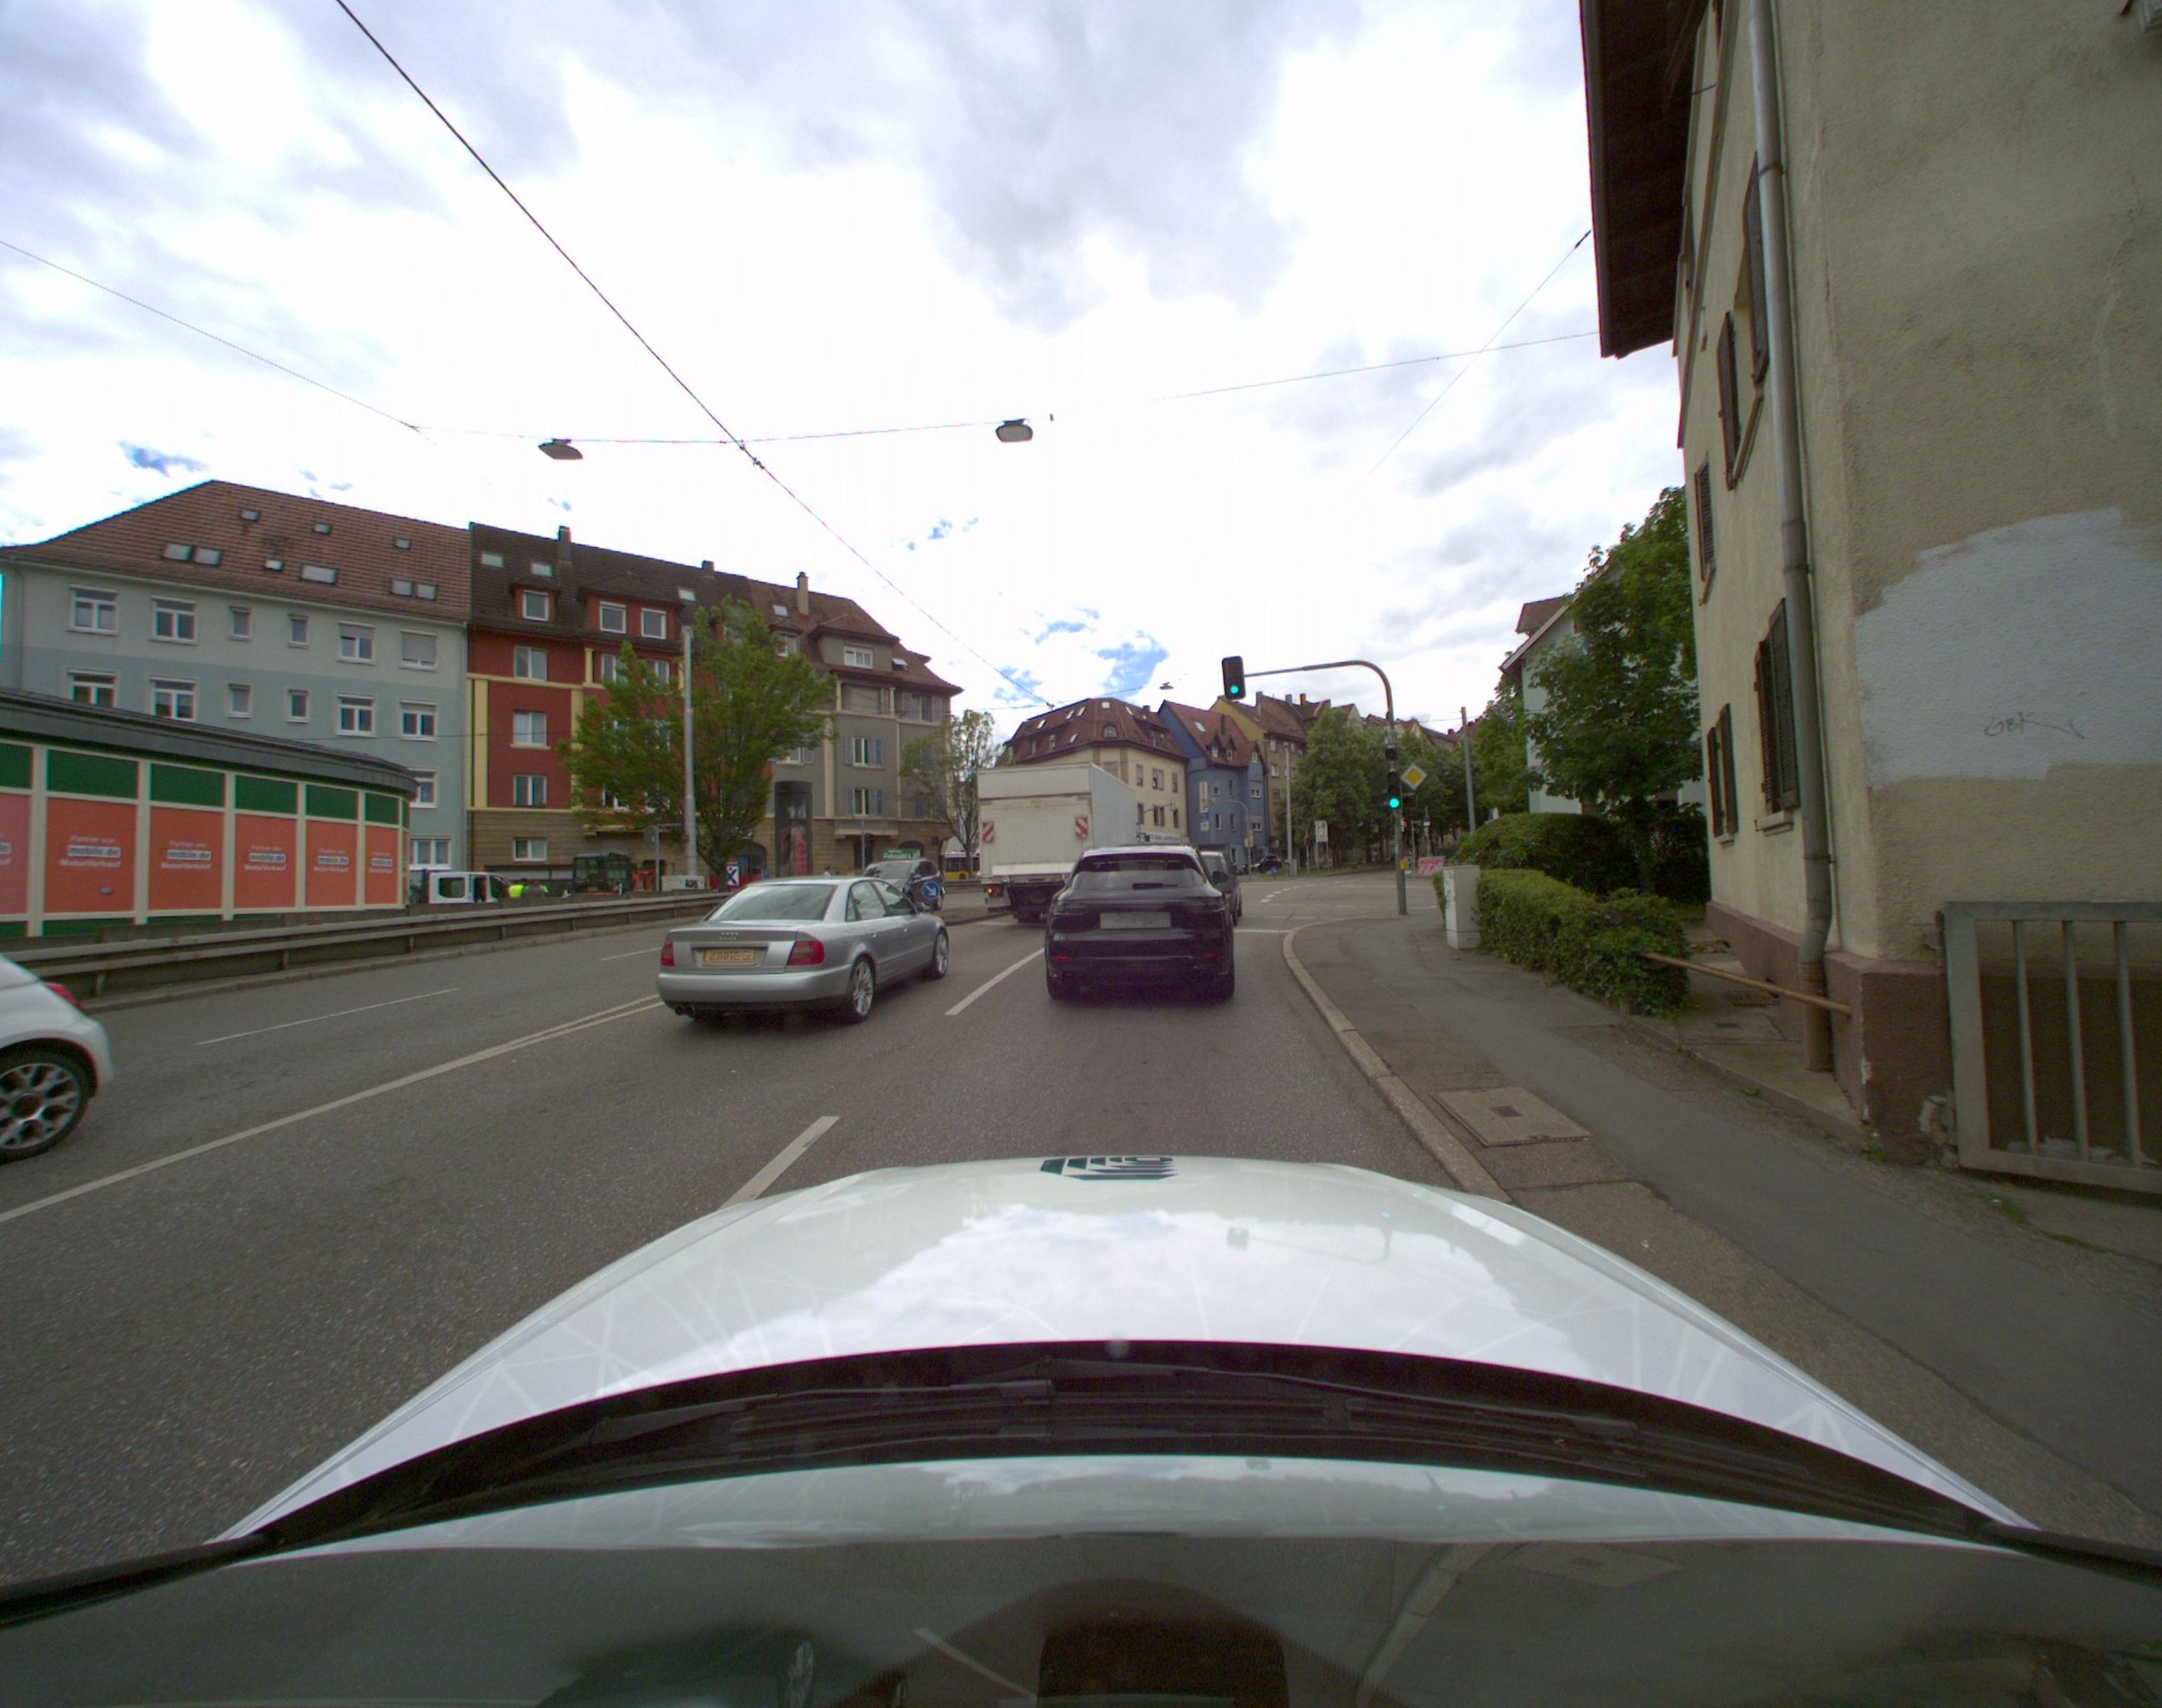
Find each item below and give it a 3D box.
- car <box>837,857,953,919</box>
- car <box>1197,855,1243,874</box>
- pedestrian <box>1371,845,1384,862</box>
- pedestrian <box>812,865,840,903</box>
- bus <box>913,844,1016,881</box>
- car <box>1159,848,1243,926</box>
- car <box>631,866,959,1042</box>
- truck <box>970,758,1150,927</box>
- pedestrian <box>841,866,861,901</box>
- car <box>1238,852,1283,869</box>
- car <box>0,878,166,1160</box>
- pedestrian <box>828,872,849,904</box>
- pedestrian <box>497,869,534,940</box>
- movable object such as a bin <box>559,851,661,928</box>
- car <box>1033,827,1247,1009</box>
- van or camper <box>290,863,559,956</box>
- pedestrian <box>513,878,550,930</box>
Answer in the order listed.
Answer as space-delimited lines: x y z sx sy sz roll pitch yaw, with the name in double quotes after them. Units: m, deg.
-5.595 0.975 25.183 1.893 1.714 4.729 -1 0 8 "car"
11.692 0.882 68.520 1.700 1.476 4.244 -4 -2 43 "car"
35.907 -0.016 98.576 1.181 2.014 0.995 -2 -1 41 "pedestrian"
-10.625 1.254 33.980 0.785 1.546 0.743 -1 0 29 "pedestrian"
-10.795 0.830 73.854 3.184 3.096 12.005 -1 -1 -42 "bus"
2.769 0.696 18.274 1.638 1.556 3.594 -1 -1 11 "car"
-2.711 0.874 8.846 1.620 1.365 4.137 -2 0 7 "car"
-0.137 -0.220 21.425 2.707 3.544 8.450 0 0 13 "truck"
-9.975 1.274 35.339 0.517 1.487 0.657 -2 -1 23 "pedestrian"
16.274 0.622 73.758 1.852 1.416 4.726 -4 -3 43 "car"
-6.415 0.879 3.219 1.593 1.447 3.529 -2 -1 -1 "car"
-10.317 1.450 34.699 0.569 1.338 0.587 -2 -1 23 "pedestrian"
-16.663 1.471 23.988 0.830 2.013 0.672 -1 -1 -38 "pedestrian"
-13.456 0.963 23.462 1.375 2.013 3.523 -2 0 -10 "movable object such as a bin"
0.617 0.604 10.022 2.024 1.723 4.501 -1 0 1 "car"
-19.308 1.526 24.509 6.029 2.338 2.660 -1 -1 -34 "van or camper"
-14.989 1.348 22.229 0.594 1.363 0.629 -3 -1 35 "pedestrian"
